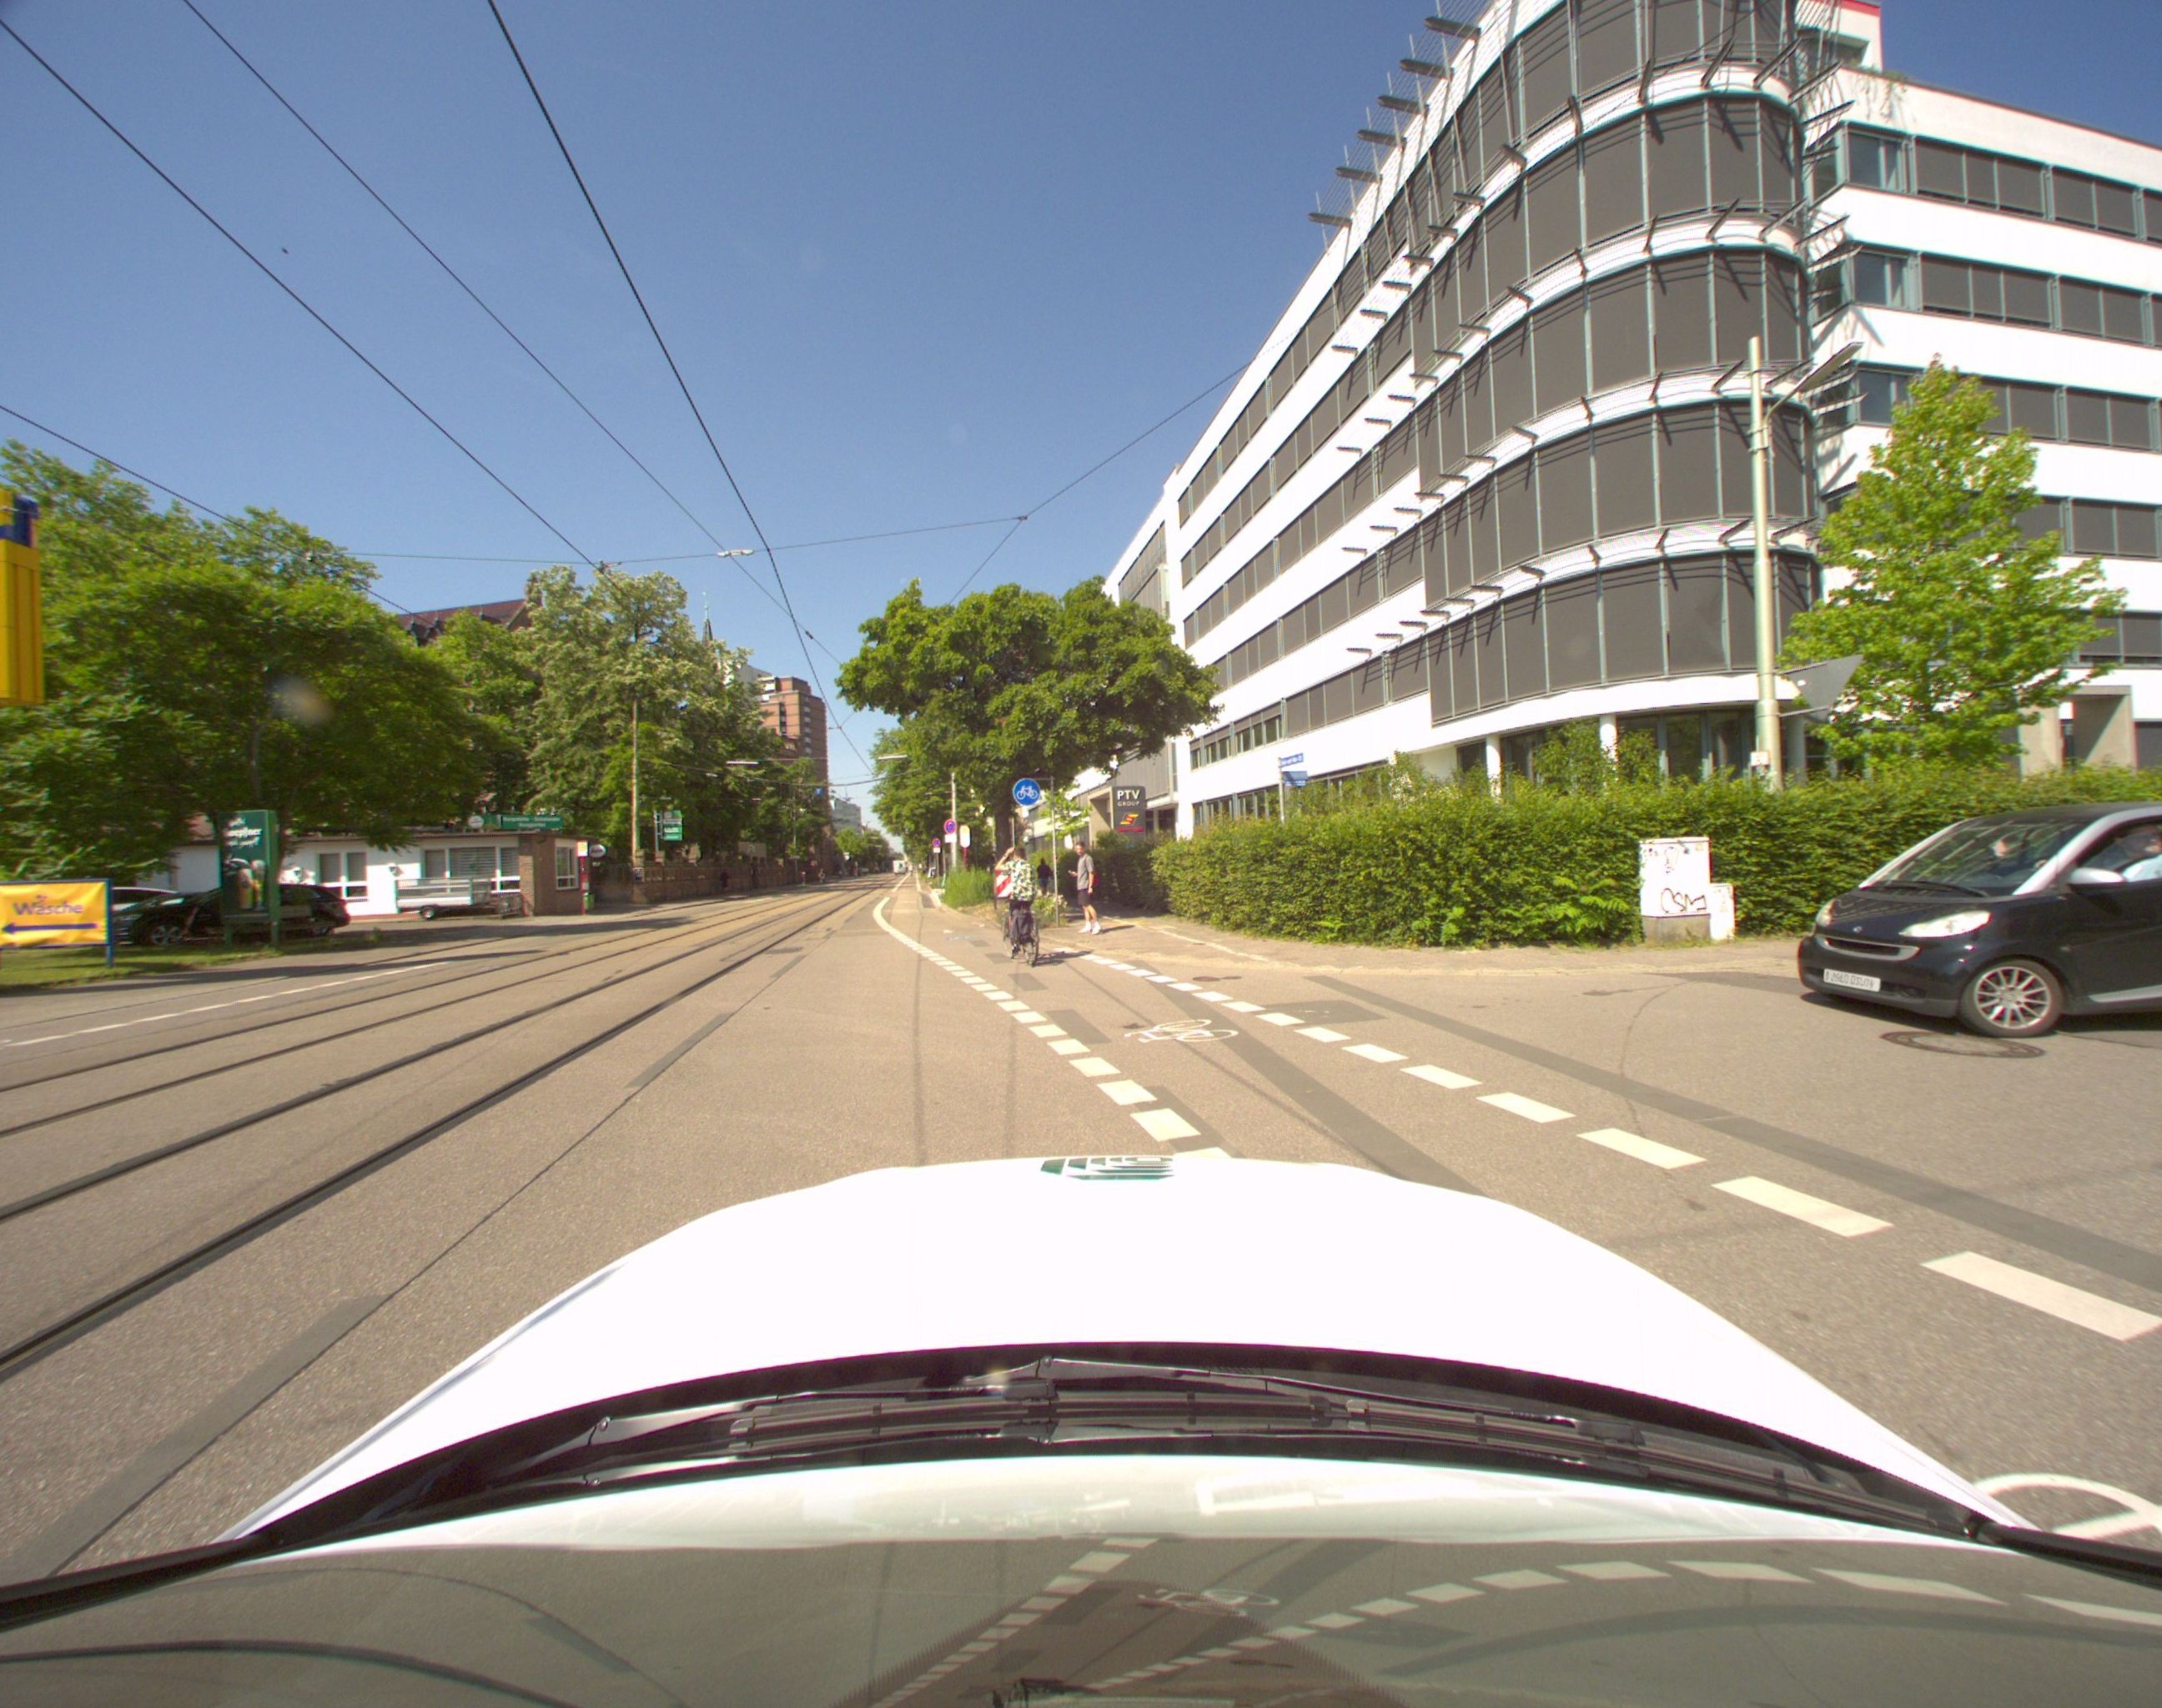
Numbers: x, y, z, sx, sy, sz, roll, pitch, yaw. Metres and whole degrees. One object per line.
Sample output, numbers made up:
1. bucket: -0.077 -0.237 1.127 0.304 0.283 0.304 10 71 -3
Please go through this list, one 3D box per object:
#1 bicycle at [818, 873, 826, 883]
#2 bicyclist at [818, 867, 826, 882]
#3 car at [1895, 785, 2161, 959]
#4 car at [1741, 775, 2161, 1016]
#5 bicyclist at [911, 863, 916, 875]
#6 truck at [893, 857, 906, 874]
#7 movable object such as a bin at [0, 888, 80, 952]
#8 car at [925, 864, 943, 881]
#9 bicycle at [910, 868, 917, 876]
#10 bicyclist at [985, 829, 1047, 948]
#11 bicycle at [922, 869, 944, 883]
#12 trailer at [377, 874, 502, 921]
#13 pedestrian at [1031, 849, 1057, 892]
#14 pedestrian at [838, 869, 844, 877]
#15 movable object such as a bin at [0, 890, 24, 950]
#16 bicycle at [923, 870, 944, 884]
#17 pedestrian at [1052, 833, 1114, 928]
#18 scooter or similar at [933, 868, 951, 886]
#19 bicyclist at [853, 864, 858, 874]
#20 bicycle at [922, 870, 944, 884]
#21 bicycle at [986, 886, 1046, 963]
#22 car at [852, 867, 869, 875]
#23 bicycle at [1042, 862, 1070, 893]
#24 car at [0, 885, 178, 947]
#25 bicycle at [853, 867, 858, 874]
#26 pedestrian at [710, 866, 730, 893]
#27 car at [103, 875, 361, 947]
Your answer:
1. bicycle: -28.343 2.624 89.052 0.592 1.105 2.046 -2 0 -12
2. bicyclist: -28.327 2.246 89.031 0.741 1.531 0.943 -2 0 -12
3. car: 10.854 0.097 8.480 3.689 1.527 1.697 -2 0 -14
4. car: 7.081 0.258 6.080 2.949 1.538 1.483 -3 0 9
5. bicyclist: -25.945 2.288 125.899 0.636 1.871 1.020 -3 -1 -13
6. truck: -36.295 2.293 163.384 2.405 3.109 6.011 -2 -1 -12
7. movable object such as a bin: -26.558 1.648 20.294 1.417 1.502 1.375 -2 0 -9
8. car: -14.048 1.736 77.615 1.631 1.472 3.616 -2 0 -11
9. bicycle: -25.901 2.757 125.860 0.856 1.110 2.130 -2 0 -13
10. bicyclist: -1.012 0.510 12.462 0.717 1.724 0.983 -2 -1 -15
11. bicycle: -13.076 1.957 71.908 1.795 1.086 0.723 -3 -1 -13
12. trailer: -24.477 1.621 31.178 3.276 1.603 1.717 -2 -1 -11
13. pedestrian: -1.408 0.619 30.883 0.688 1.563 0.983 -4 0 -17
14. pedestrian: -43.191 3.424 146.463 0.886 1.512 1.465 -2 -1 -21
15. movable object such as a bin: -28.332 1.722 20.573 1.411 1.502 1.381 -2 0 4
16. bicycle: -12.855 2.012 71.052 1.726 1.086 0.637 -3 -1 -13
17. pedestrian: 0.025 0.515 16.400 0.892 1.818 1.066 -2 -1 -19
18. scooter or similar: -9.277 1.546 54.320 1.126 1.166 0.673 -3 -1 -10
19. bicyclist: -39.529 2.591 143.002 0.726 1.698 1.141 -3 -1 -13
20. bicycle: -13.199 2.039 72.419 1.851 1.132 0.677 -3 -1 -13
21. bicycle: -1.028 1.021 12.444 0.609 0.984 2.155 -2 0 -12
22. car: -60.232 4.635 222.271 4.022 1.750 1.976 -2 -1 -43
23. bicycle: -0.964 0.890 30.826 0.636 1.117 2.057 -2 -1 -13
24. car: -29.648 1.786 23.837 1.823 1.557 4.025 -2 -1 31
25. bicycle: -39.496 2.953 142.943 0.663 1.154 2.006 -2 0 -12
26. pedestrian: -25.715 1.807 58.034 0.977 1.816 1.180 -3 -1 -12
27. car: -23.666 1.514 22.919 1.994 1.640 4.689 -2 -1 31
